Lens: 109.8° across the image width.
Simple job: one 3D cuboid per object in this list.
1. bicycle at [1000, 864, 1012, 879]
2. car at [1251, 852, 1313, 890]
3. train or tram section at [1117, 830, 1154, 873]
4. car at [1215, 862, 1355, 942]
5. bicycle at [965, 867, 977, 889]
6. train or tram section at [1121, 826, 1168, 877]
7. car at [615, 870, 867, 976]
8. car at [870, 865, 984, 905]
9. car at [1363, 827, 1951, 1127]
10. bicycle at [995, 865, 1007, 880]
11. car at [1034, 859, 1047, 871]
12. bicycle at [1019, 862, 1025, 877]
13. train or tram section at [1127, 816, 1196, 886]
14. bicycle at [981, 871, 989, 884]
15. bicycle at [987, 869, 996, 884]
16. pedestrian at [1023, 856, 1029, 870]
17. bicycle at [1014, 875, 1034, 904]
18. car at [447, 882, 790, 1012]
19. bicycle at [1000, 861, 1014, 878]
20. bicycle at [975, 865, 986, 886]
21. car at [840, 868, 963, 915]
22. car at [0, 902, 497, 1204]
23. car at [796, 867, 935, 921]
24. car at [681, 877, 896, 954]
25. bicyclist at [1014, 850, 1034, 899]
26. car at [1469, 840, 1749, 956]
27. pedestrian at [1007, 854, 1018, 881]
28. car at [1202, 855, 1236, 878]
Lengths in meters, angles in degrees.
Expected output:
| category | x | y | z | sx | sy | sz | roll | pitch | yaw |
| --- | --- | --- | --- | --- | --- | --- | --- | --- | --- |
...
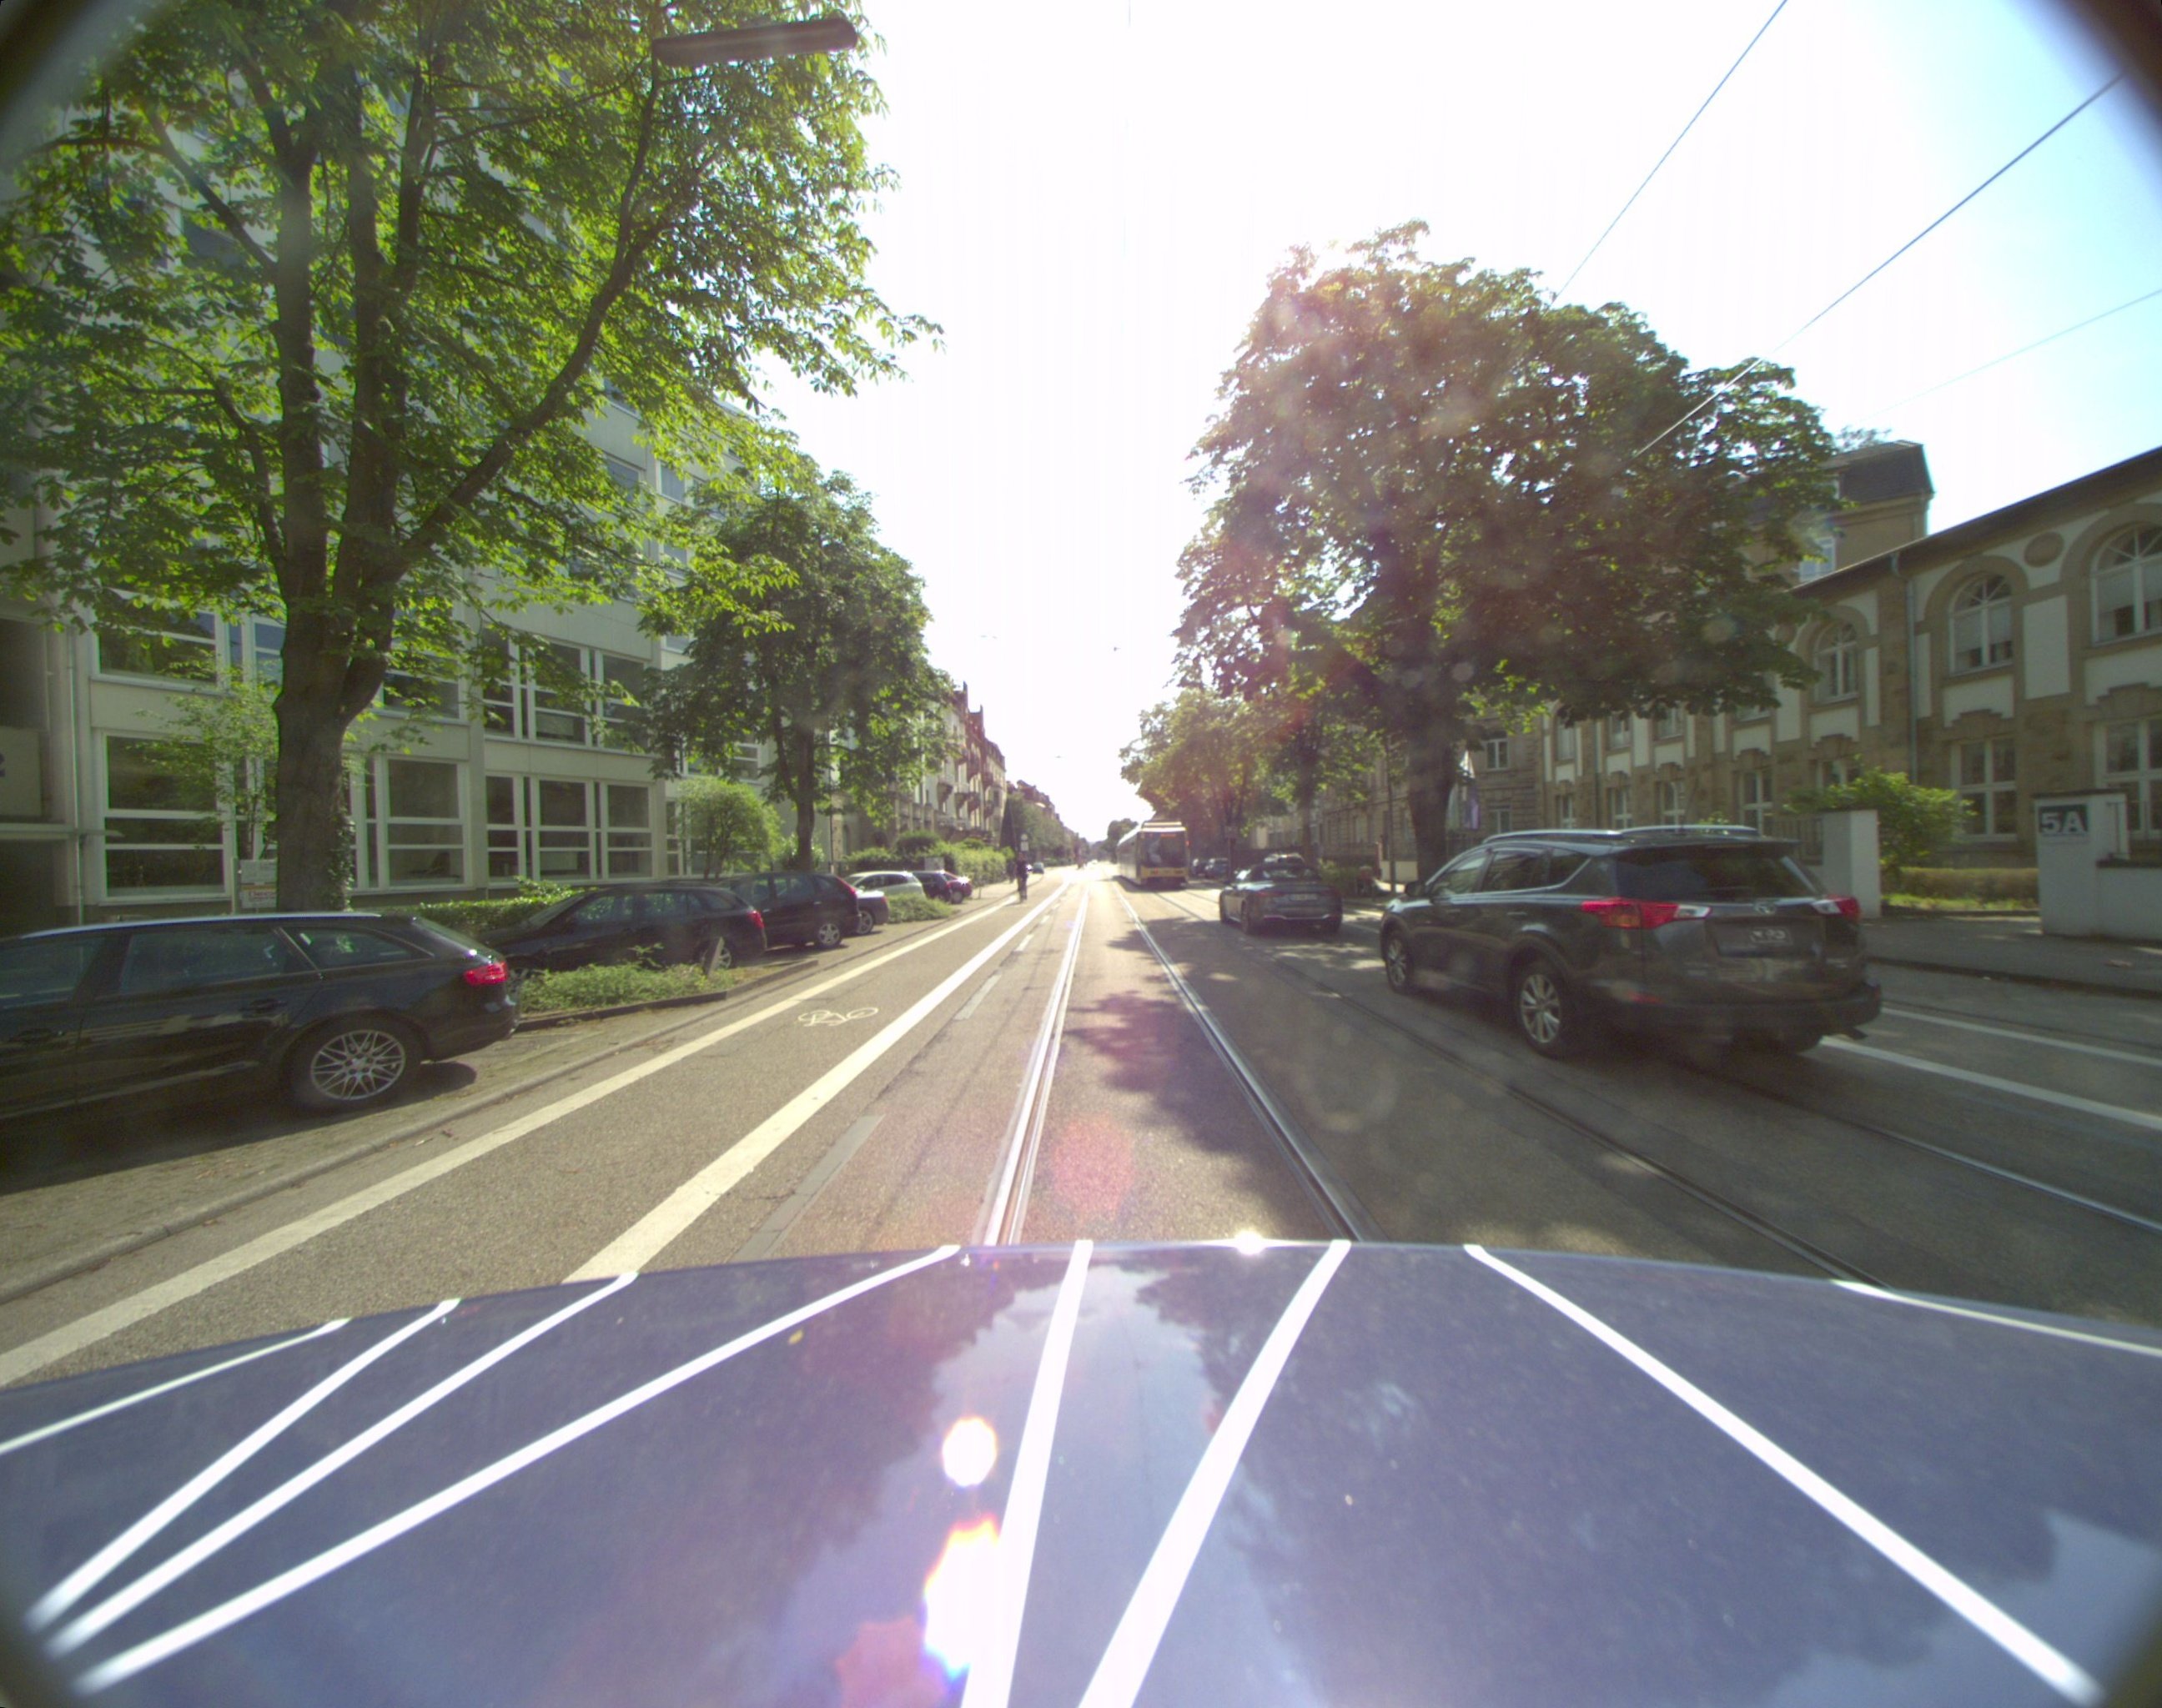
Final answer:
| category | x | y | z | sx | sy | sz | roll | pitch | yaw |
| --- | --- | --- | --- | --- | --- | --- | --- | --- | --- |
| bicycle | -5.440 | 1.275 | 55.443 | 0.612 | 0.990 | 2.362 | 1 | 0 | 0 |
| car | 9.719 | 0.787 | 37.071 | 1.811 | 1.631 | 4.331 | -3 | 0 | 0 |
| train or tram section | 4.673 | -0.215 | 67.540 | 2.659 | 3.416 | 12.315 | 0 | 0 | 1 |
| car | 4.113 | 0.892 | 16.055 | 1.803 | 1.380 | 4.426 | -1 | 0 | 1 |
| bicycle | -5.897 | 1.255 | 40.702 | 0.280 | 1.102 | 2.011 | 2 | 0 | 1 |
| train or tram section | 4.465 | -0.208 | 55.716 | 2.659 | 3.369 | 11.473 | 0 | 0 | 1 |
| car | -6.501 | 1.219 | 14.733 | 4.007 | 1.565 | 1.900 | -3 | 0 | -41 |
| car | -6.221 | 1.225 | 30.947 | 4.168 | 1.415 | 1.861 | -1 | 0 | -41 |
| car | 4.174 | 0.743 | 6.629 | 1.830 | 1.717 | 4.392 | -1 | 0 | 1 |
| bicycle | -5.553 | 1.266 | 53.044 | 0.614 | 0.983 | 1.872 | 1 | 0 | 0 |
| car | -5.333 | 1.462 | 99.705 | 1.517 | 1.490 | 2.794 | 1 | 0 | -1 |
| bicycle | -5.189 | 1.339 | 66.505 | 0.452 | 1.253 | 1.844 | 1 | 0 | -2 |
| train or tram section | 4.229 | -0.185 | 43.029 | 2.659 | 3.336 | 14.108 | 0 | 0 | 1 |
| bicycle | -5.819 | 1.425 | 46.133 | 0.280 | 0.673 | 1.559 | 2 | 0 | 1 |
| bicycle | -5.715 | 1.452 | 48.635 | 0.274 | 0.902 | 1.668 | -2 | 0 | 1 |
| pedestrian | -7.808 | 1.254 | 107.631 | 0.661 | 1.830 | 0.873 | 7 | -1 | -7 |
| bicycle | -2.313 | 1.417 | 30.985 | 0.617 | 1.039 | 1.836 | 2 | 1 | 1 |
| car | -6.744 | 1.243 | 11.363 | 4.084 | 1.434 | 1.722 | -1 | -2 | -43 |
| bicycle | -5.729 | 1.214 | 58.916 | 0.742 | 1.224 | 2.516 | -1 | 0 | 0 |
| bicycle | -5.851 | 1.236 | 44.220 | 0.280 | 1.102 | 2.011 | 2 | 0 | 1 |
| car | -6.497 | 1.309 | 27.778 | 4.008 | 1.440 | 1.695 | -2 | 0 | -41 |
| car | -6.725 | 1.239 | 4.790 | 4.544 | 1.434 | 2.026 | -4 | 1 | -44 |
| car | -6.835 | 1.213 | 24.393 | 4.008 | 1.452 | 1.531 | -2 | 0 | -44 |
| car | -6.695 | 1.338 | 17.675 | 4.183 | 1.341 | 1.900 | -3 | 0 | -44 |
| bicyclist | -2.324 | 0.818 | 30.953 | 0.608 | 1.937 | 1.130 | -3 | 1 | 1 |
| car | 9.193 | 0.654 | 13.841 | 1.755 | 1.656 | 4.720 | -3 | 0 | 0 |
| pedestrian | -4.871 | 0.959 | 53.999 | 0.790 | 1.850 | 0.580 | 1 | 0 | -6 |
| car | 10.035 | 0.858 | 55.492 | 1.658 | 1.476 | 3.808 | -3 | 1 | 0 |
